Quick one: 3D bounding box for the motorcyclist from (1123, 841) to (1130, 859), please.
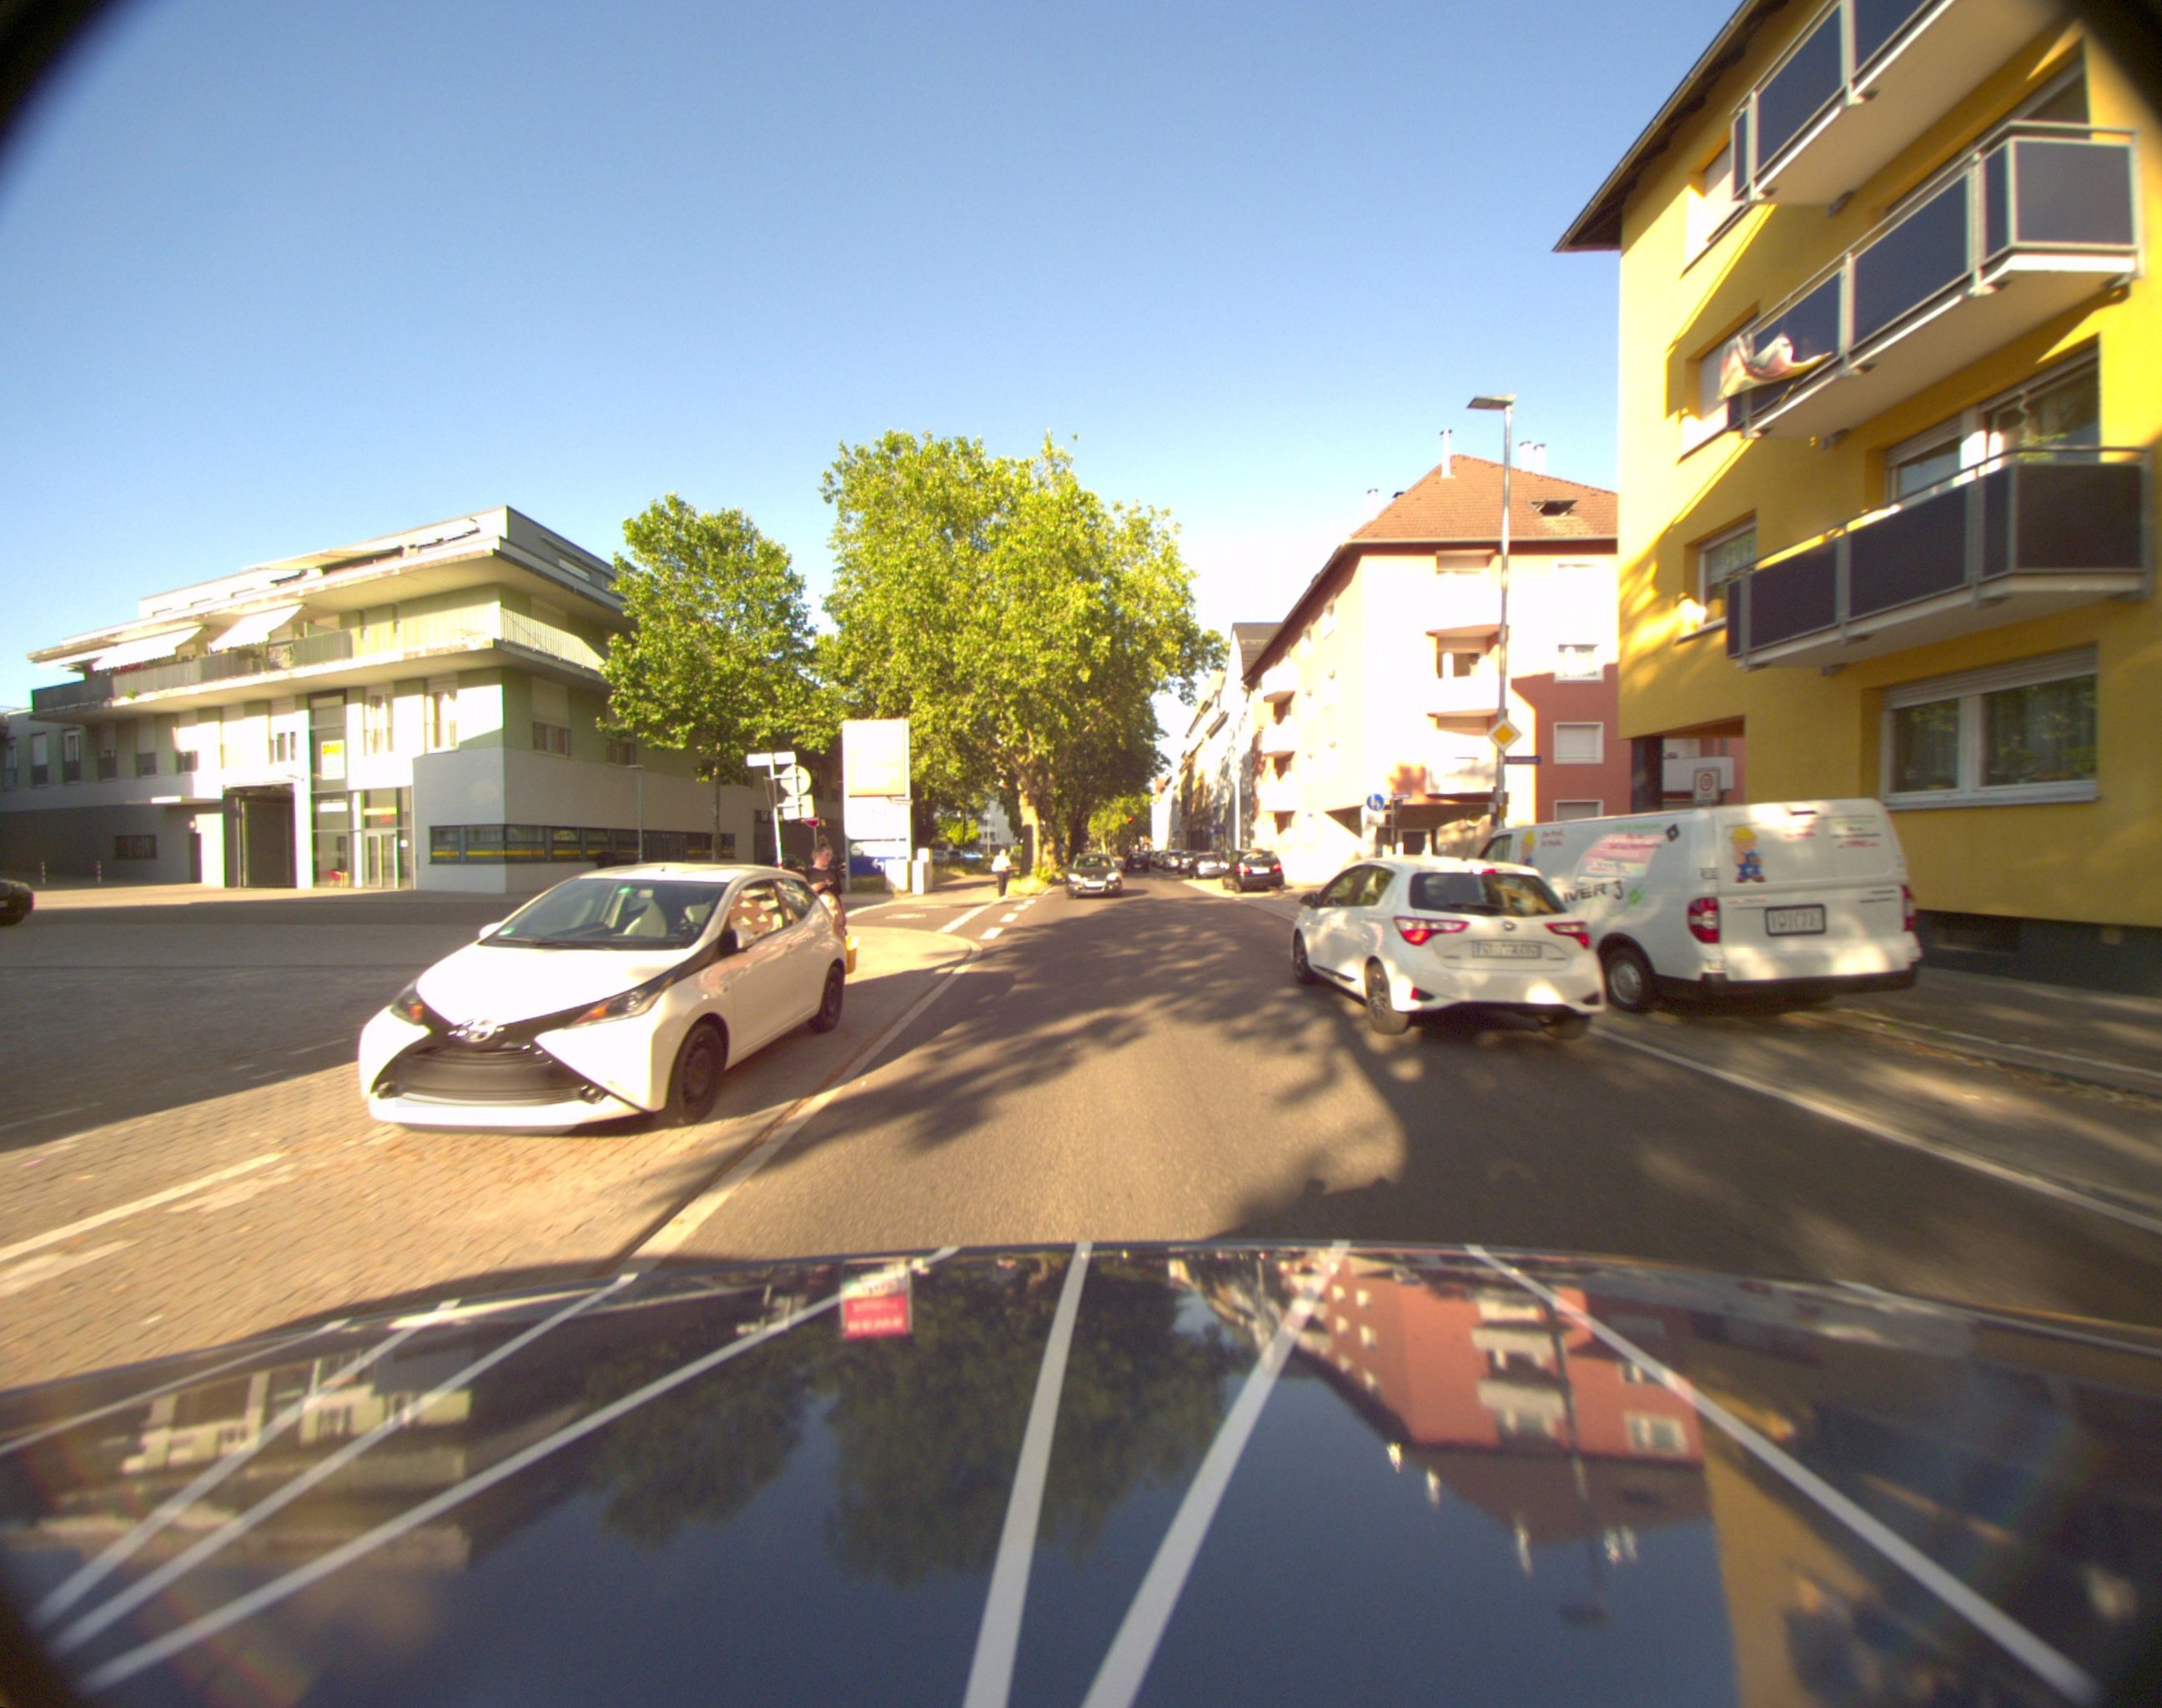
[{"bbox_3d":[4.088,-0.394,68.472,0.587,1.596,0.831,0,1,1],"label":"motorcyclist"}]

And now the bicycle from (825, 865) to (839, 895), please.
[{"bbox_3d":[-8.850,0.894,27.003,0.384,0.998,1.484,0,1,-15],"label":"bicycle"}]

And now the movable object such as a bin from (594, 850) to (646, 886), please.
[{"bbox_3d":[-19.161,0.556,31.603,1.195,1.454,1.408,0,1,13],"label":"movable object such as a bin"}]

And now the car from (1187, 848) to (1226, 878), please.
[{"bbox_3d":[6.838,0.463,41.562,1.681,1.478,3.601,-2,1,3],"label":"car"}]

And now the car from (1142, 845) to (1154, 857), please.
[{"bbox_3d":[10.480,-0.432,119.238,1.668,1.808,4.005,-2,1,4],"label":"car"}]

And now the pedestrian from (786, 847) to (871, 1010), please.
[{"bbox_3d":[-2.829,0.781,8.498,0.723,1.713,0.692,-1,1,-34],"label":"pedestrian"}]

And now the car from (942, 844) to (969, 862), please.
[{"bbox_3d":[-13.097,-0.140,79.570,1.909,1.761,4.320,0,1,2],"label":"car"}]

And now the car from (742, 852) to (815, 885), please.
[{"bbox_3d":[-14.561,0.645,36.774,1.864,1.460,4.123,0,1,0],"label":"car"}]

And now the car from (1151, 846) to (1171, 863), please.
[{"bbox_3d":[7.845,0.014,74.982,1.681,1.575,4.200,-2,1,3],"label":"car"}]

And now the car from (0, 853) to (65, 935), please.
[{"bbox_3d":[-24.253,0.800,15.407,4.494,1.653,2.030,0,0,-1],"label":"car"}]

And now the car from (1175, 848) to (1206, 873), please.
[{"bbox_3d":[7.446,0.407,52.057,1.681,1.632,3.985,-2,1,3],"label":"car"}]

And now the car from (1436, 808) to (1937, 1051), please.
[{"bbox_3d":[6.013,0.583,8.627,1.738,1.896,5.209,-1,1,3],"label":"car"}]

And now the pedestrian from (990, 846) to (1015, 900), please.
[{"bbox_3d":[-2.630,0.628,25.417,0.770,1.751,0.663,1,1,-6],"label":"pedestrian"}]

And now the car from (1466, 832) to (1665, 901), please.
[{"bbox_3d":[14.556,0.360,23.067,4.757,2.002,1.919,0,1,3],"label":"car"}]

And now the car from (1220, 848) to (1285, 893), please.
[{"bbox_3d":[6.335,0.562,28.460,1.681,1.515,4.021,-2,1,3],"label":"car"}]

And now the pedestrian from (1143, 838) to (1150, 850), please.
[{"bbox_3d":[8.639,-1.319,100.415,0.865,1.561,0.706,0,1,6],"label":"pedestrian"}]

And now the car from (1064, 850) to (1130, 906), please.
[{"bbox_3d":[0.582,0.691,24.433,1.844,1.536,4.524,-2,1,3],"label":"car"}]

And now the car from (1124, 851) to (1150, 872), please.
[{"bbox_3d":[4.219,0.544,57.445,1.775,1.470,4.322,-2,1,2],"label":"car"}]

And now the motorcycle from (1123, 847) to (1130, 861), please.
[{"bbox_3d":[4.100,-0.044,68.623,0.548,1.234,2.264,2,1,1],"label":"motorcycle"}]

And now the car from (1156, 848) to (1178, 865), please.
[{"bbox_3d":[7.767,0.194,68.690,1.681,1.488,3.872,-2,1,3],"label":"car"}]

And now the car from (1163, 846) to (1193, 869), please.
[{"bbox_3d":[7.322,0.226,57.831,1.912,1.632,4.577,-2,1,3],"label":"car"}]

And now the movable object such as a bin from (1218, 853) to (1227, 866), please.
[{"bbox_3d":[10.586,0.410,56.815,0.558,0.941,0.669,0,1,2],"label":"movable object such as a bin"}]

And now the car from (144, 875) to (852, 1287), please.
[{"bbox_3d":[-2.970,0.989,5.101,1.639,1.459,4.020,1,1,0],"label":"car"}]

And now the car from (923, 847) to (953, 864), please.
[{"bbox_3d":[-13.374,0.079,71.299,1.863,1.534,4.320,0,1,2],"label":"car"}]

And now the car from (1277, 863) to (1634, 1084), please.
[{"bbox_3d":[3.246,0.902,7.524,1.643,1.515,3.934,-1,1,1],"label":"car"}]

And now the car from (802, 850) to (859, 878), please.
[{"bbox_3d":[-14.323,0.535,43.622,1.863,1.544,3.759,0,1,2],"label":"car"}]

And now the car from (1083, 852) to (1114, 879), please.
[{"bbox_3d":[0.993,0.599,42.507,1.654,1.445,3.535,0,1,2],"label":"car"}]
